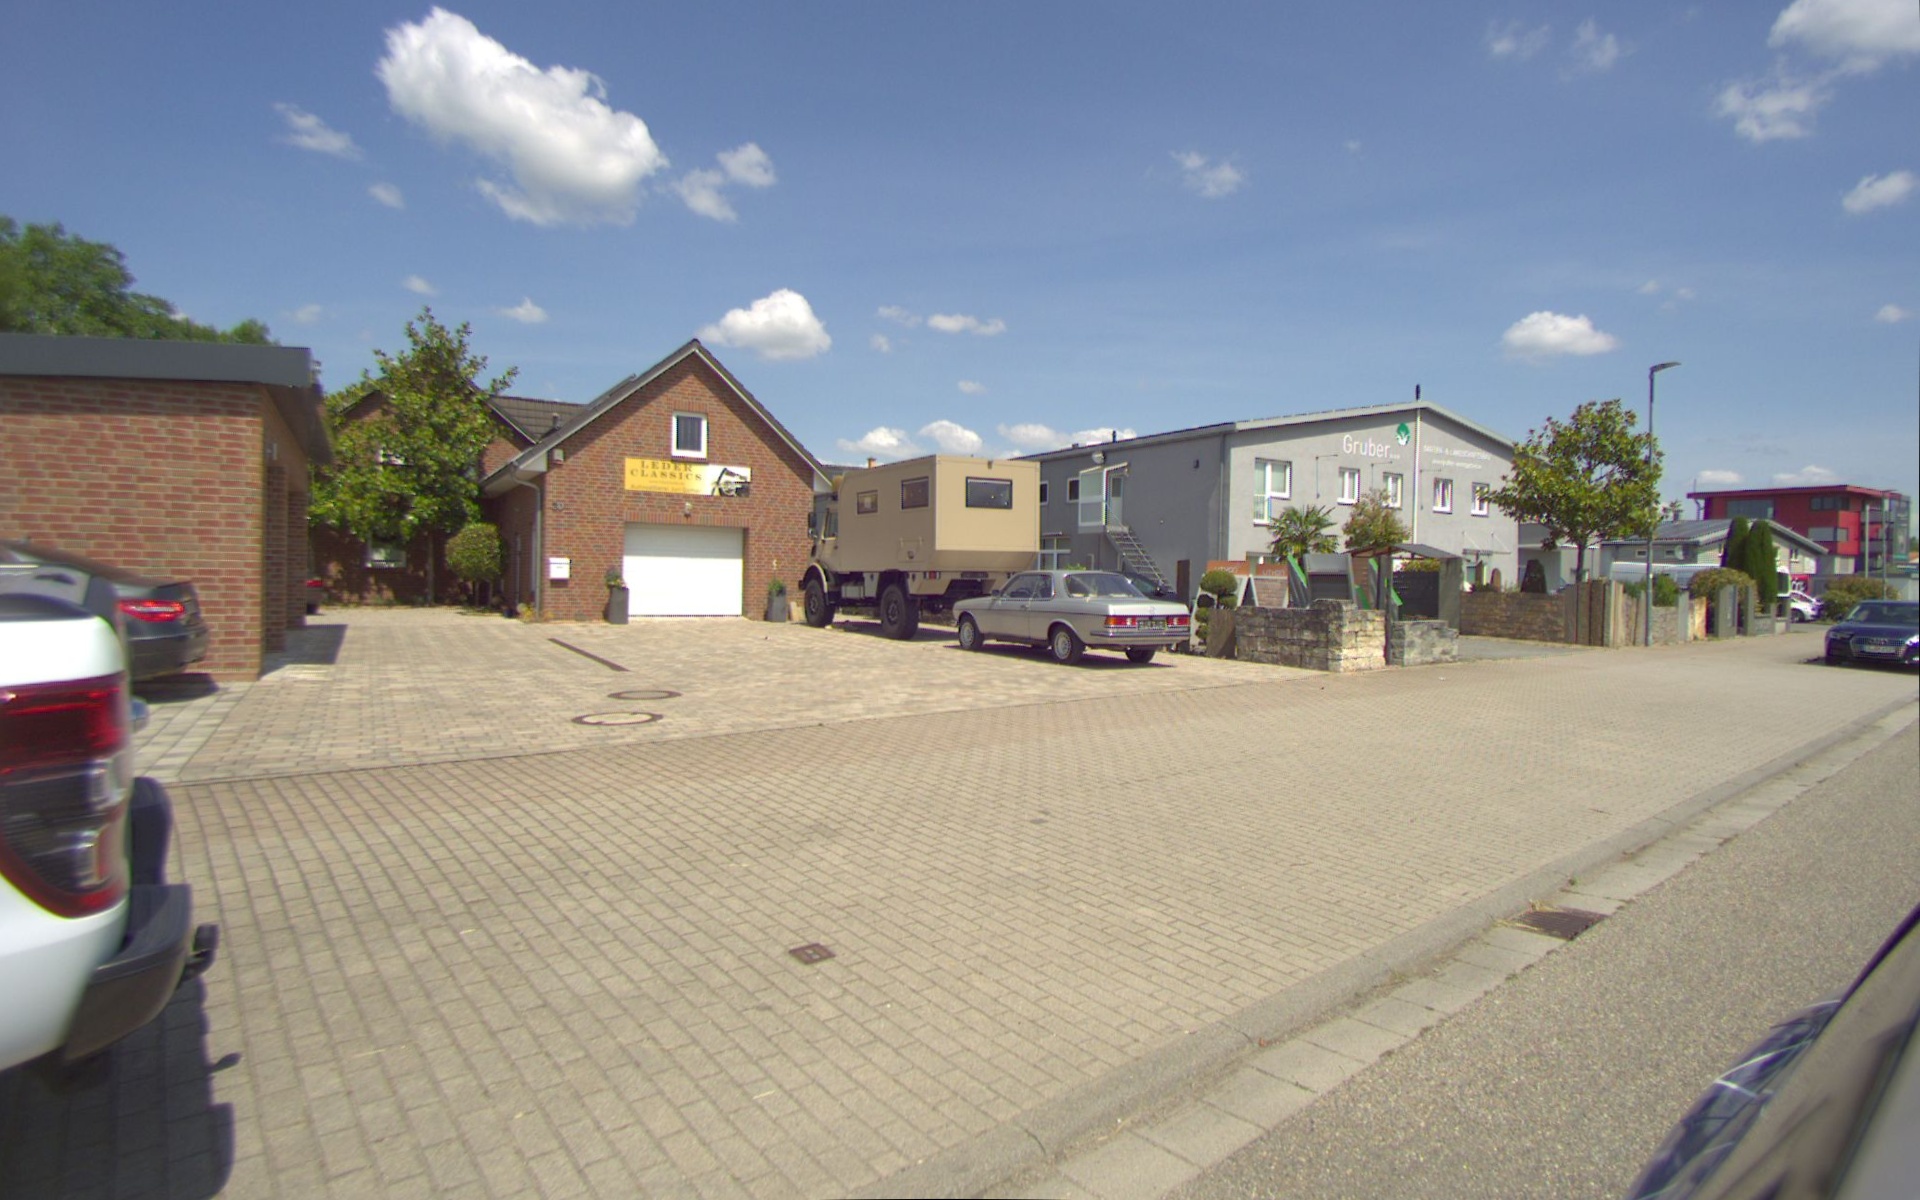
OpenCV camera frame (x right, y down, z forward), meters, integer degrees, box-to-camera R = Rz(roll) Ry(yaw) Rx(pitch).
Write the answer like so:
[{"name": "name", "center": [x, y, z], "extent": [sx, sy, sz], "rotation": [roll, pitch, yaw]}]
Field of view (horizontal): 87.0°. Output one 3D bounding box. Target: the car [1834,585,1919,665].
[{"name": "car", "center": [20.027, 0.470, 21.332], "extent": [4.636, 1.490, 1.765], "rotation": [0, 3, -41]}]

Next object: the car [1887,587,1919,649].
[{"name": "car", "center": [24.980, 0.453, 25.735], "extent": [3.808, 1.490, 1.618], "rotation": [0, 3, -41]}]

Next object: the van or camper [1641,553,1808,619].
[{"name": "van or camper", "center": [31.686, -0.662, 42.148], "extent": [1.959, 2.565, 5.118], "rotation": [1, 2, -27]}]

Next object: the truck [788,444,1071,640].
[{"name": "truck", "center": [-0.917, -1.144, 21.292], "extent": [3.045, 3.429, 6.489], "rotation": [0, 2, -32]}]

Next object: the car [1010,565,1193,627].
[{"name": "car", "center": [3.308, -0.106, 23.568], "extent": [3.921, 1.340, 1.791], "rotation": [0, 2, -29]}]

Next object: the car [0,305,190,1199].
[{"name": "car", "center": [-3.973, 0.376, 0.739], "extent": [5.330, 1.836, 1.852], "rotation": [0, 5, -41]}]

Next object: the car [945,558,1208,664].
[{"name": "car", "center": [1.679, 0.080, 16.102], "extent": [1.938, 1.437, 4.286], "rotation": [0, 2, -31]}]

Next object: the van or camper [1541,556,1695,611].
[{"name": "van or camper", "center": [31.546, -0.860, 48.776], "extent": [2.091, 2.467, 5.850], "rotation": [0, 2, -30]}]

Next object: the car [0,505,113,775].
[{"name": "car", "center": [-7.264, 0.186, 5.469], "extent": [3.923, 1.498, 1.913], "rotation": [0, 2, -34]}]

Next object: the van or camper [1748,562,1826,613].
[{"name": "van or camper", "center": [48.363, -0.727, 59.149], "extent": [4.800, 2.802, 2.042], "rotation": [0, 2, -32]}]

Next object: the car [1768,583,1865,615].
[{"name": "car", "center": [45.617, -0.074, 53.935], "extent": [1.684, 1.505, 3.702], "rotation": [0, 2, -39]}]

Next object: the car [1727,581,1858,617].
[{"name": "car", "center": [39.890, -0.086, 48.612], "extent": [1.684, 1.505, 4.606], "rotation": [0, 2, -39]}]

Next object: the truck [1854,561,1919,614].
[{"name": "truck", "center": [51.527, -0.680, 55.301], "extent": [5.669, 2.721, 2.388], "rotation": [0, 2, -32]}]

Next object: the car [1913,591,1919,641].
[{"name": "car", "center": [29.814, 0.503, 30.168], "extent": [4.122, 1.441, 1.618], "rotation": [0, 3, -41]}]

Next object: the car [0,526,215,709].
[{"name": "car", "center": [-8.434, 0.114, 8.045], "extent": [3.922, 1.393, 1.753], "rotation": [0, 1, -33]}]

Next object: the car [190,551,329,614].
[{"name": "car", "center": [-16.674, -0.453, 24.045], "extent": [3.797, 1.352, 1.623], "rotation": [3, 2, 37]}]
